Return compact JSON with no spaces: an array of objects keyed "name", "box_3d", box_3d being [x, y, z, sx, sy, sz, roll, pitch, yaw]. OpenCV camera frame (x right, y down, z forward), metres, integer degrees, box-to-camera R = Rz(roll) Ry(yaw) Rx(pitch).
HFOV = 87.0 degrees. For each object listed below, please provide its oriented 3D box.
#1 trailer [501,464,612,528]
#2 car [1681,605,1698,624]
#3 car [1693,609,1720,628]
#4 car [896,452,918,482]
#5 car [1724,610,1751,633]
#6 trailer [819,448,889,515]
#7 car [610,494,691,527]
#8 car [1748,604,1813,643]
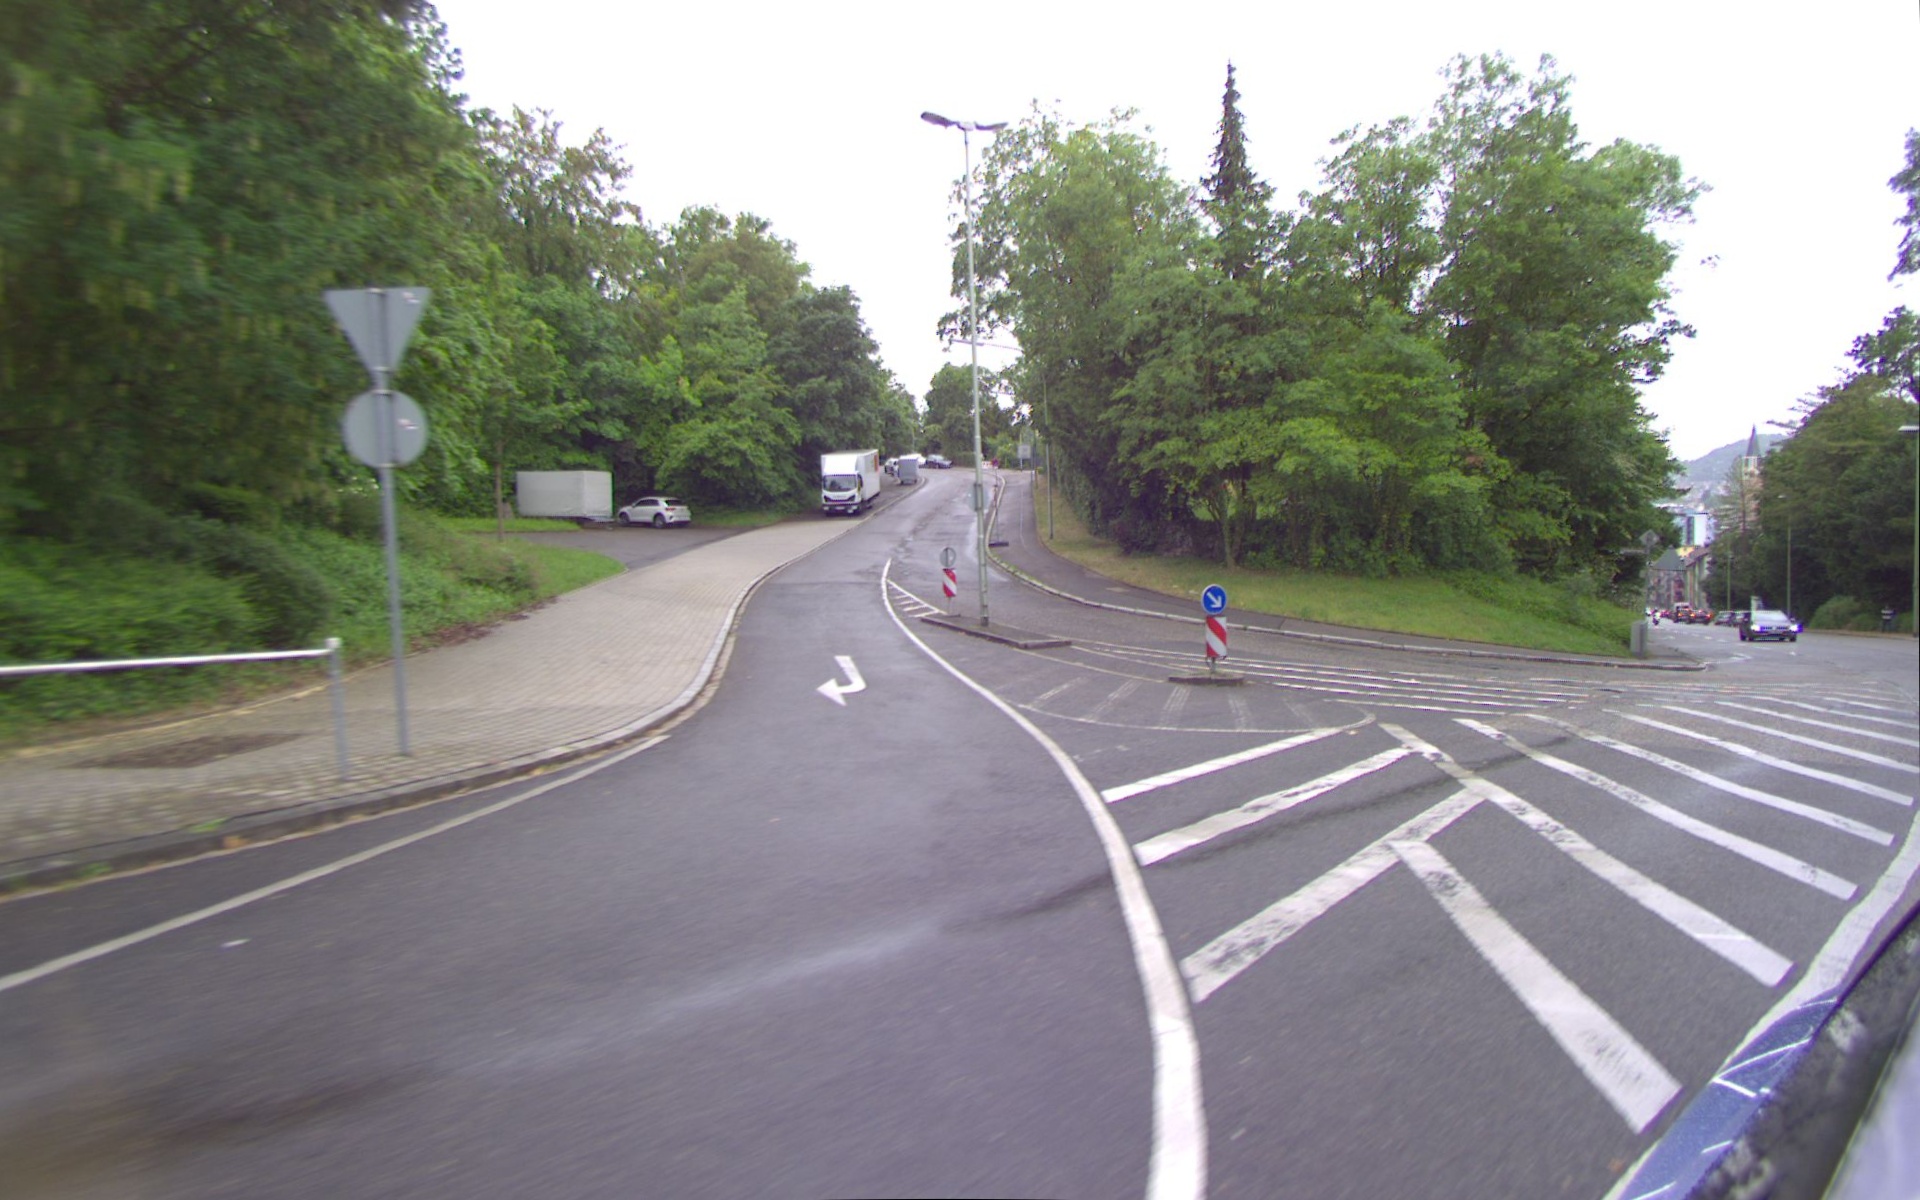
[{"name":"trailer","box_3d":[-19.518,-4.968,48.968,5.212,2.756,1.983,1,0,25]},{"name":"car","box_3d":[81.502,1.638,113.086,1.499,2.039,3.949,1,0,35]},{"name":"car","box_3d":[75.353,1.831,102.200,1.986,1.839,3.951,1,0,34]},{"name":"car","box_3d":[-4.485,-11.277,86.014,1.677,2.038,3.893,2,2,-2]},{"name":"car","box_3d":[80.836,2.245,105.272,1.986,2.284,3.951,1,0,34]},{"name":"trailer","box_3d":[-6.052,-7.046,59.065,2.240,3.334,8.031,2,10,8]},{"name":"car","box_3d":[-15.741,-4.560,51.491,3.959,1.512,1.493,3,1,25]},{"name":"car","box_3d":[38.628,1.058,47.720,2.023,1.722,3.951,1,1,34]}]
